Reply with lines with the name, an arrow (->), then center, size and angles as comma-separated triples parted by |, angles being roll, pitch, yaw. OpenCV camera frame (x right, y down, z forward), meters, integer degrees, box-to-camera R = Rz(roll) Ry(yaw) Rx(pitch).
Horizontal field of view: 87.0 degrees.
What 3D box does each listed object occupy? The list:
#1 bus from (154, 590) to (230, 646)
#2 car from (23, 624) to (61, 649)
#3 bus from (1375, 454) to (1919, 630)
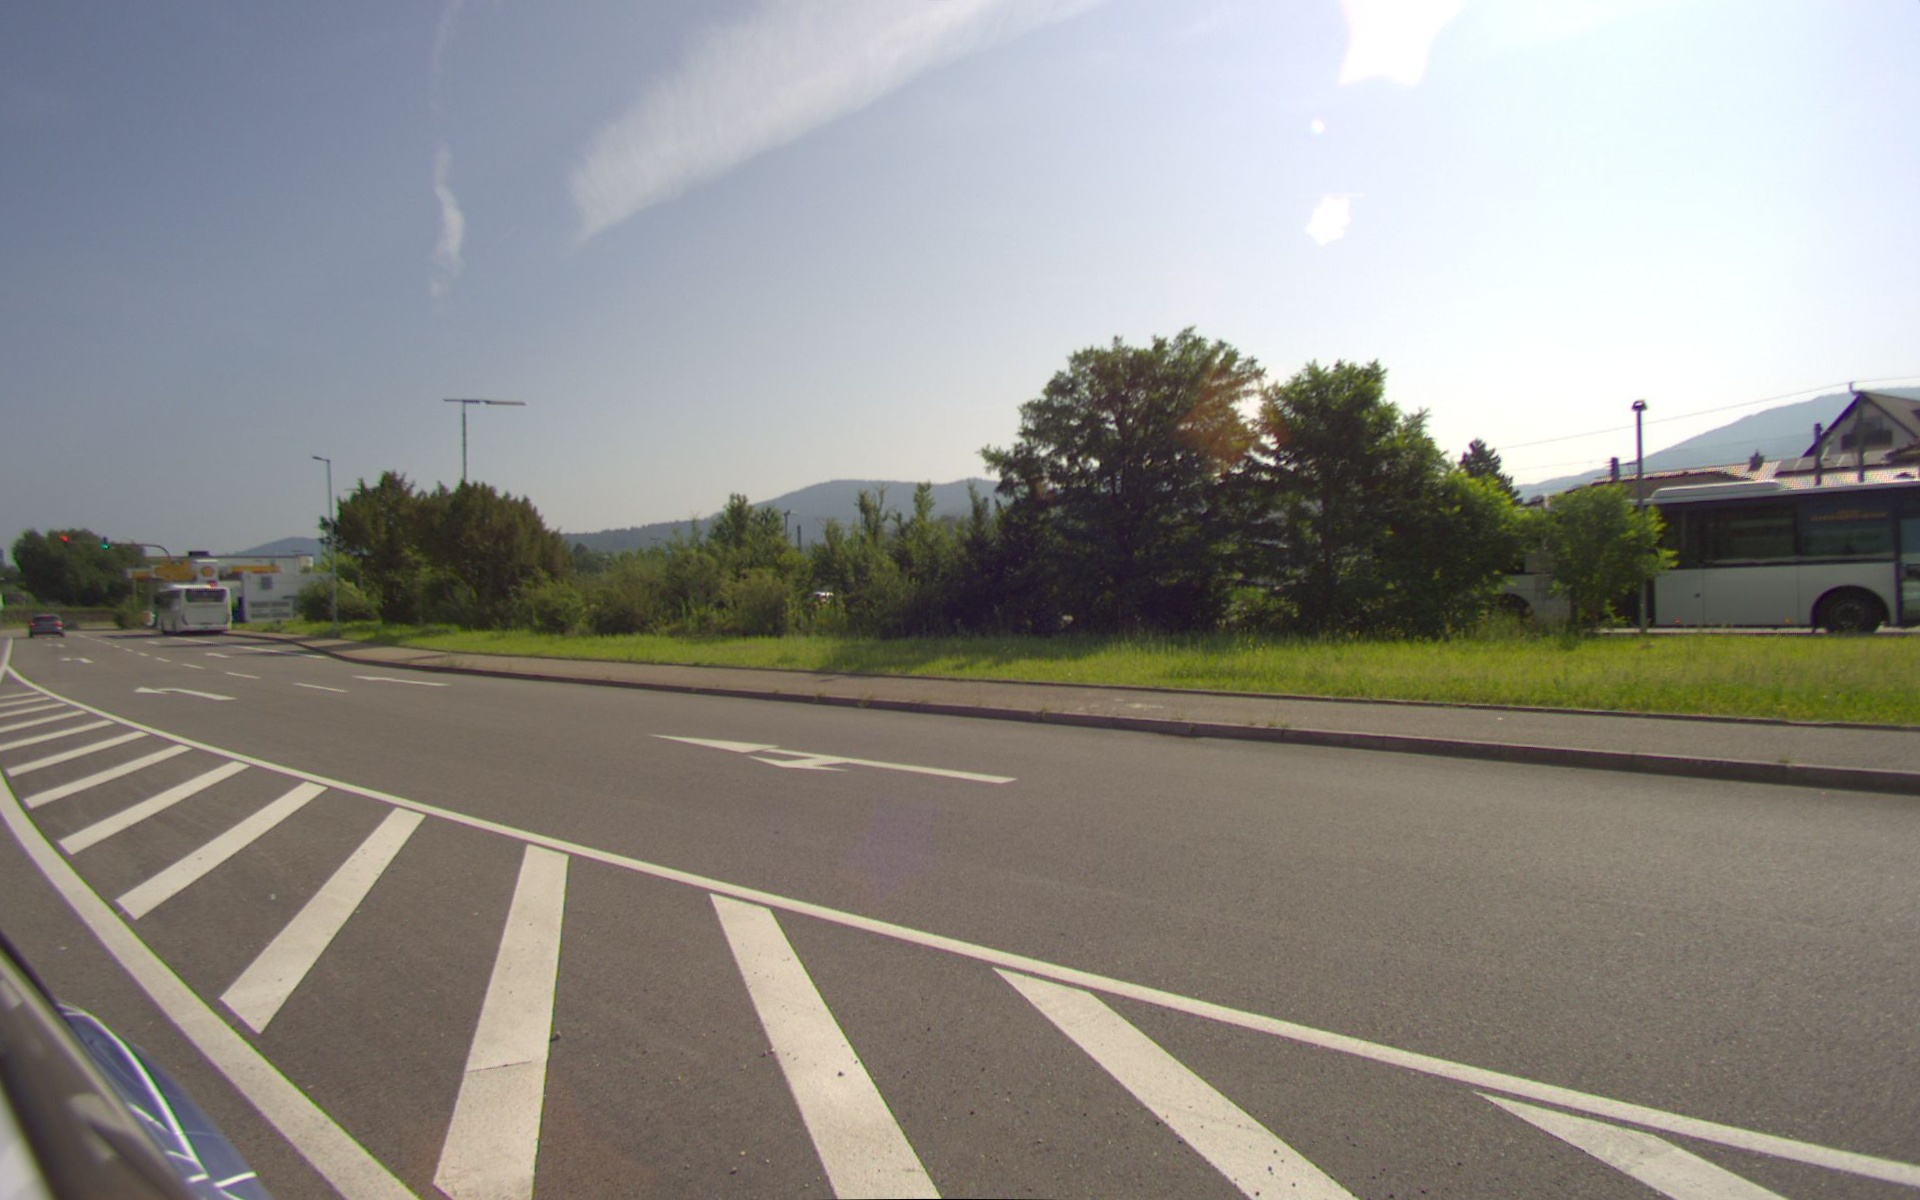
bus -> -49.851, 1.143, 65.492 | 2.590, 3.335, 11.967 | -1, 0, -44
car -> -58.459, 2.288, 64.424 | 1.751, 1.484, 4.224 | -1, 0, -43
bus -> 15.677, -1.030, 22.286 | 11.719, 3.147, 3.032 | -2, 0, 42
